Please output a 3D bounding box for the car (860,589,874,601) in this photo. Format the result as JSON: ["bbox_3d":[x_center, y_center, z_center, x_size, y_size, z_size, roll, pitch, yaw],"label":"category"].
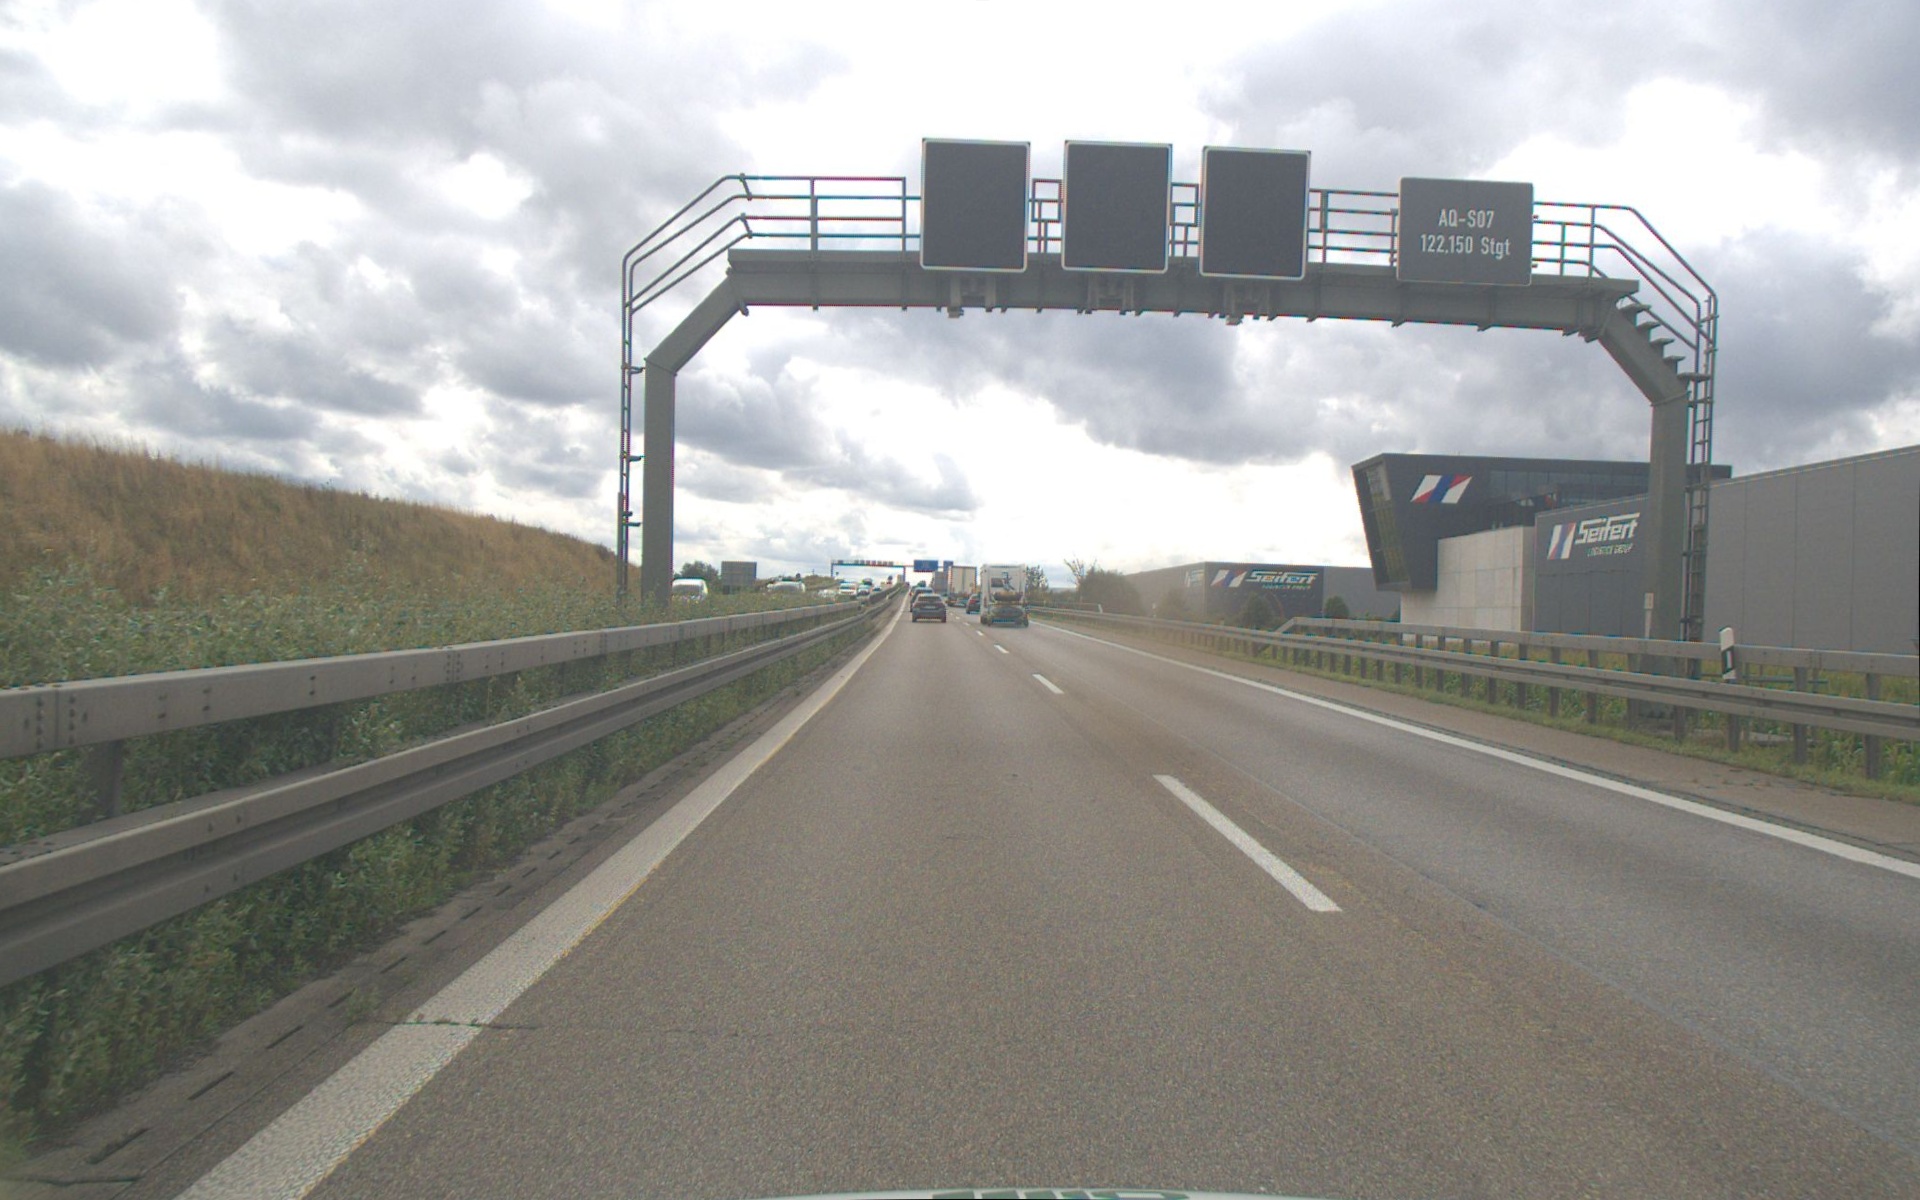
[{"bbox_3d":[-12.884,-0.665,229.768,1.804,1.604,3.999,1,-1,-1],"label":"car"}]

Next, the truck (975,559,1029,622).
[{"bbox_3d":[2.064,-0.427,83.896,2.431,3.002,5.813,1,-1,-1],"label":"truck"}]

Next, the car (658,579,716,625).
[{"bbox_3d":[-12.853,0.086,78.080,1.953,2.049,4.707,1,0,-1],"label":"car"}]

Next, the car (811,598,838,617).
[{"bbox_3d":[-10.758,0.620,131.497,1.774,1.427,4.405,1,-1,-1],"label":"car"}]

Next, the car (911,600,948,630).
[{"bbox_3d":[-1.564,0.802,85.727,1.710,1.478,4.000,1,-1,1],"label":"car"}]

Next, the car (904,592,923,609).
[{"bbox_3d":[-5.376,0.082,191.702,1.903,1.806,3.696,1,-1,1],"label":"car"}]

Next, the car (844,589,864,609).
[{"bbox_3d":[-10.911,-0.083,170.908,1.791,1.918,5.417,1,-1,-1],"label":"car"}]

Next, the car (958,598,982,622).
[{"bbox_3d":[0.737,0.750,124.073,1.764,1.714,4.000,1,-1,0],"label":"car"}]

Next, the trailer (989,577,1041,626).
[{"bbox_3d":[2.520,0.088,76.603,2.290,2.174,4.000,1,-1,1],"label":"trailer"}]

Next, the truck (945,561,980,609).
[{"bbox_3d":[0.226,-1.444,167.879,3.271,4.613,8.014,1,-1,-1],"label":"truck"}]
